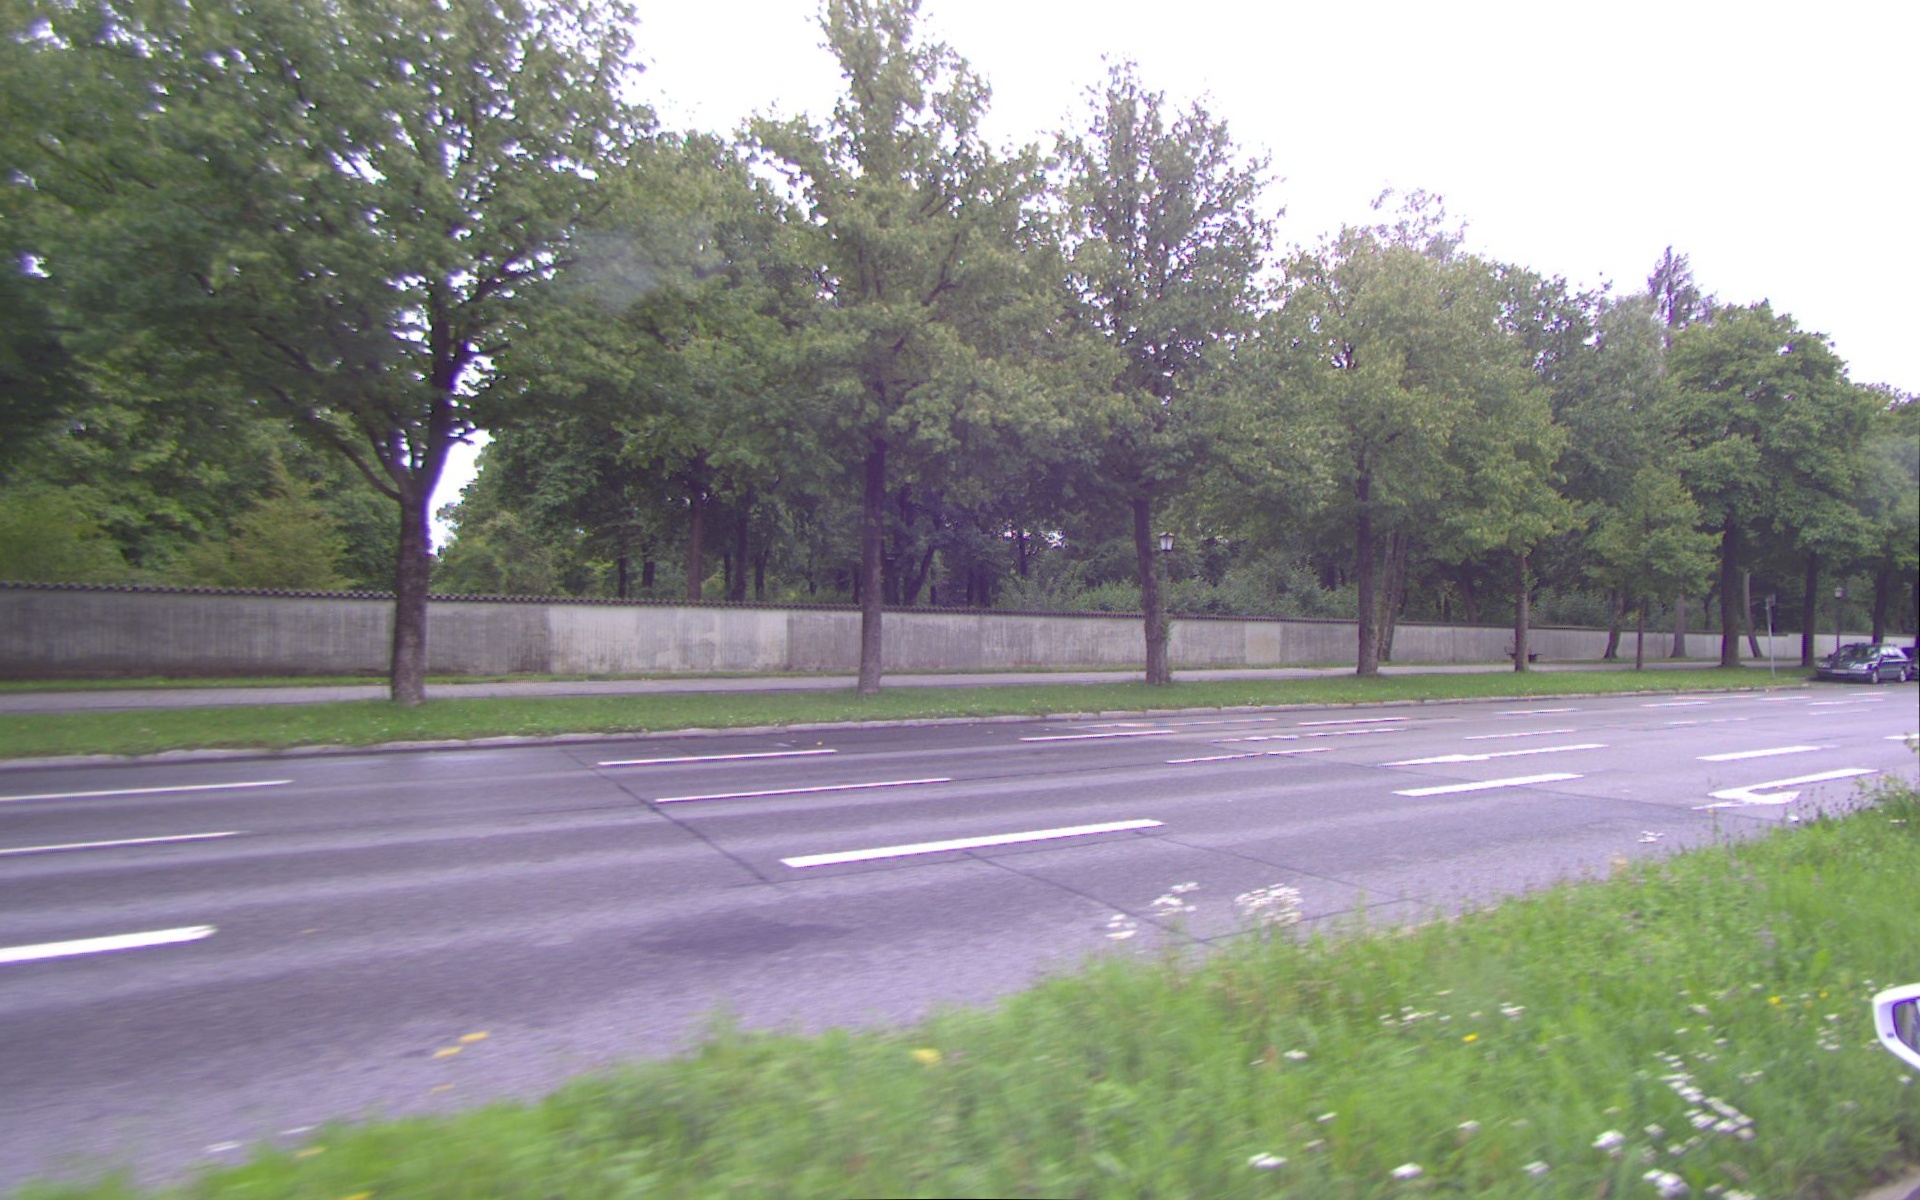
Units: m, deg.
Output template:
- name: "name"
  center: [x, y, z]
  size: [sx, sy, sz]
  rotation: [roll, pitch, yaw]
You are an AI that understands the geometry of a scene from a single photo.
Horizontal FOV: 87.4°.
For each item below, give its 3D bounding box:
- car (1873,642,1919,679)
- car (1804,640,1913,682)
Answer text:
- name: "car"
  center: [40.333, 2.530, 42.192]
  size: [4.652, 1.414, 1.651]
  rotation: [2, 0, -31]
- name: "car"
  center: [35.180, 2.356, 39.313]
  size: [4.858, 1.510, 1.790]
  rotation: [2, 0, -31]
